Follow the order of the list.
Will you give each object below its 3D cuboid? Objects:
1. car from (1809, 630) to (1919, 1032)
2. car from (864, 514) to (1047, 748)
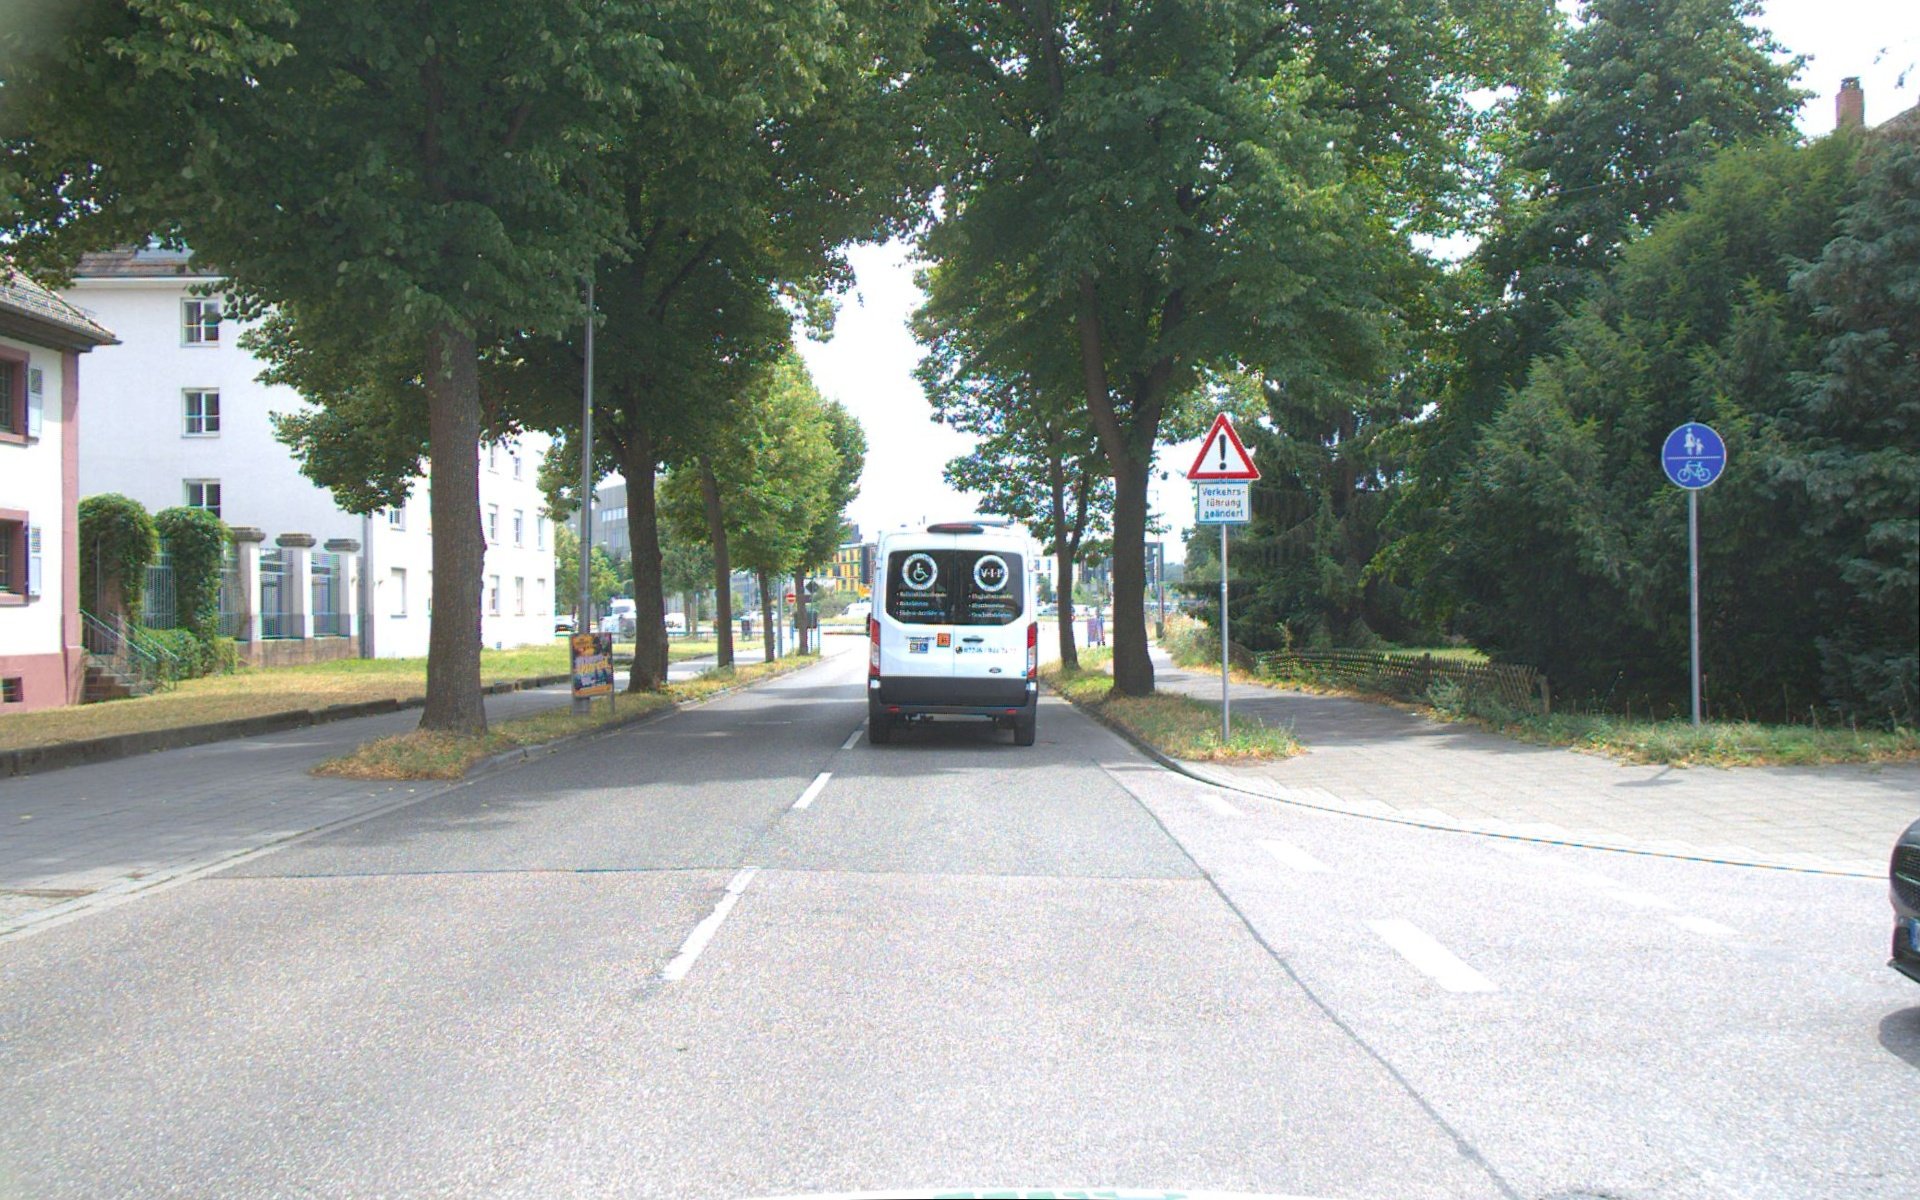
[{"bbox_3d":[5.626,0.779,5.740,4.281,1.468,2.011,-1,-2,1],"label":"car"},{"bbox_3d":[-0.092,0.377,20.374,2.021,2.584,3.998,0,-1,-1],"label":"car"}]
